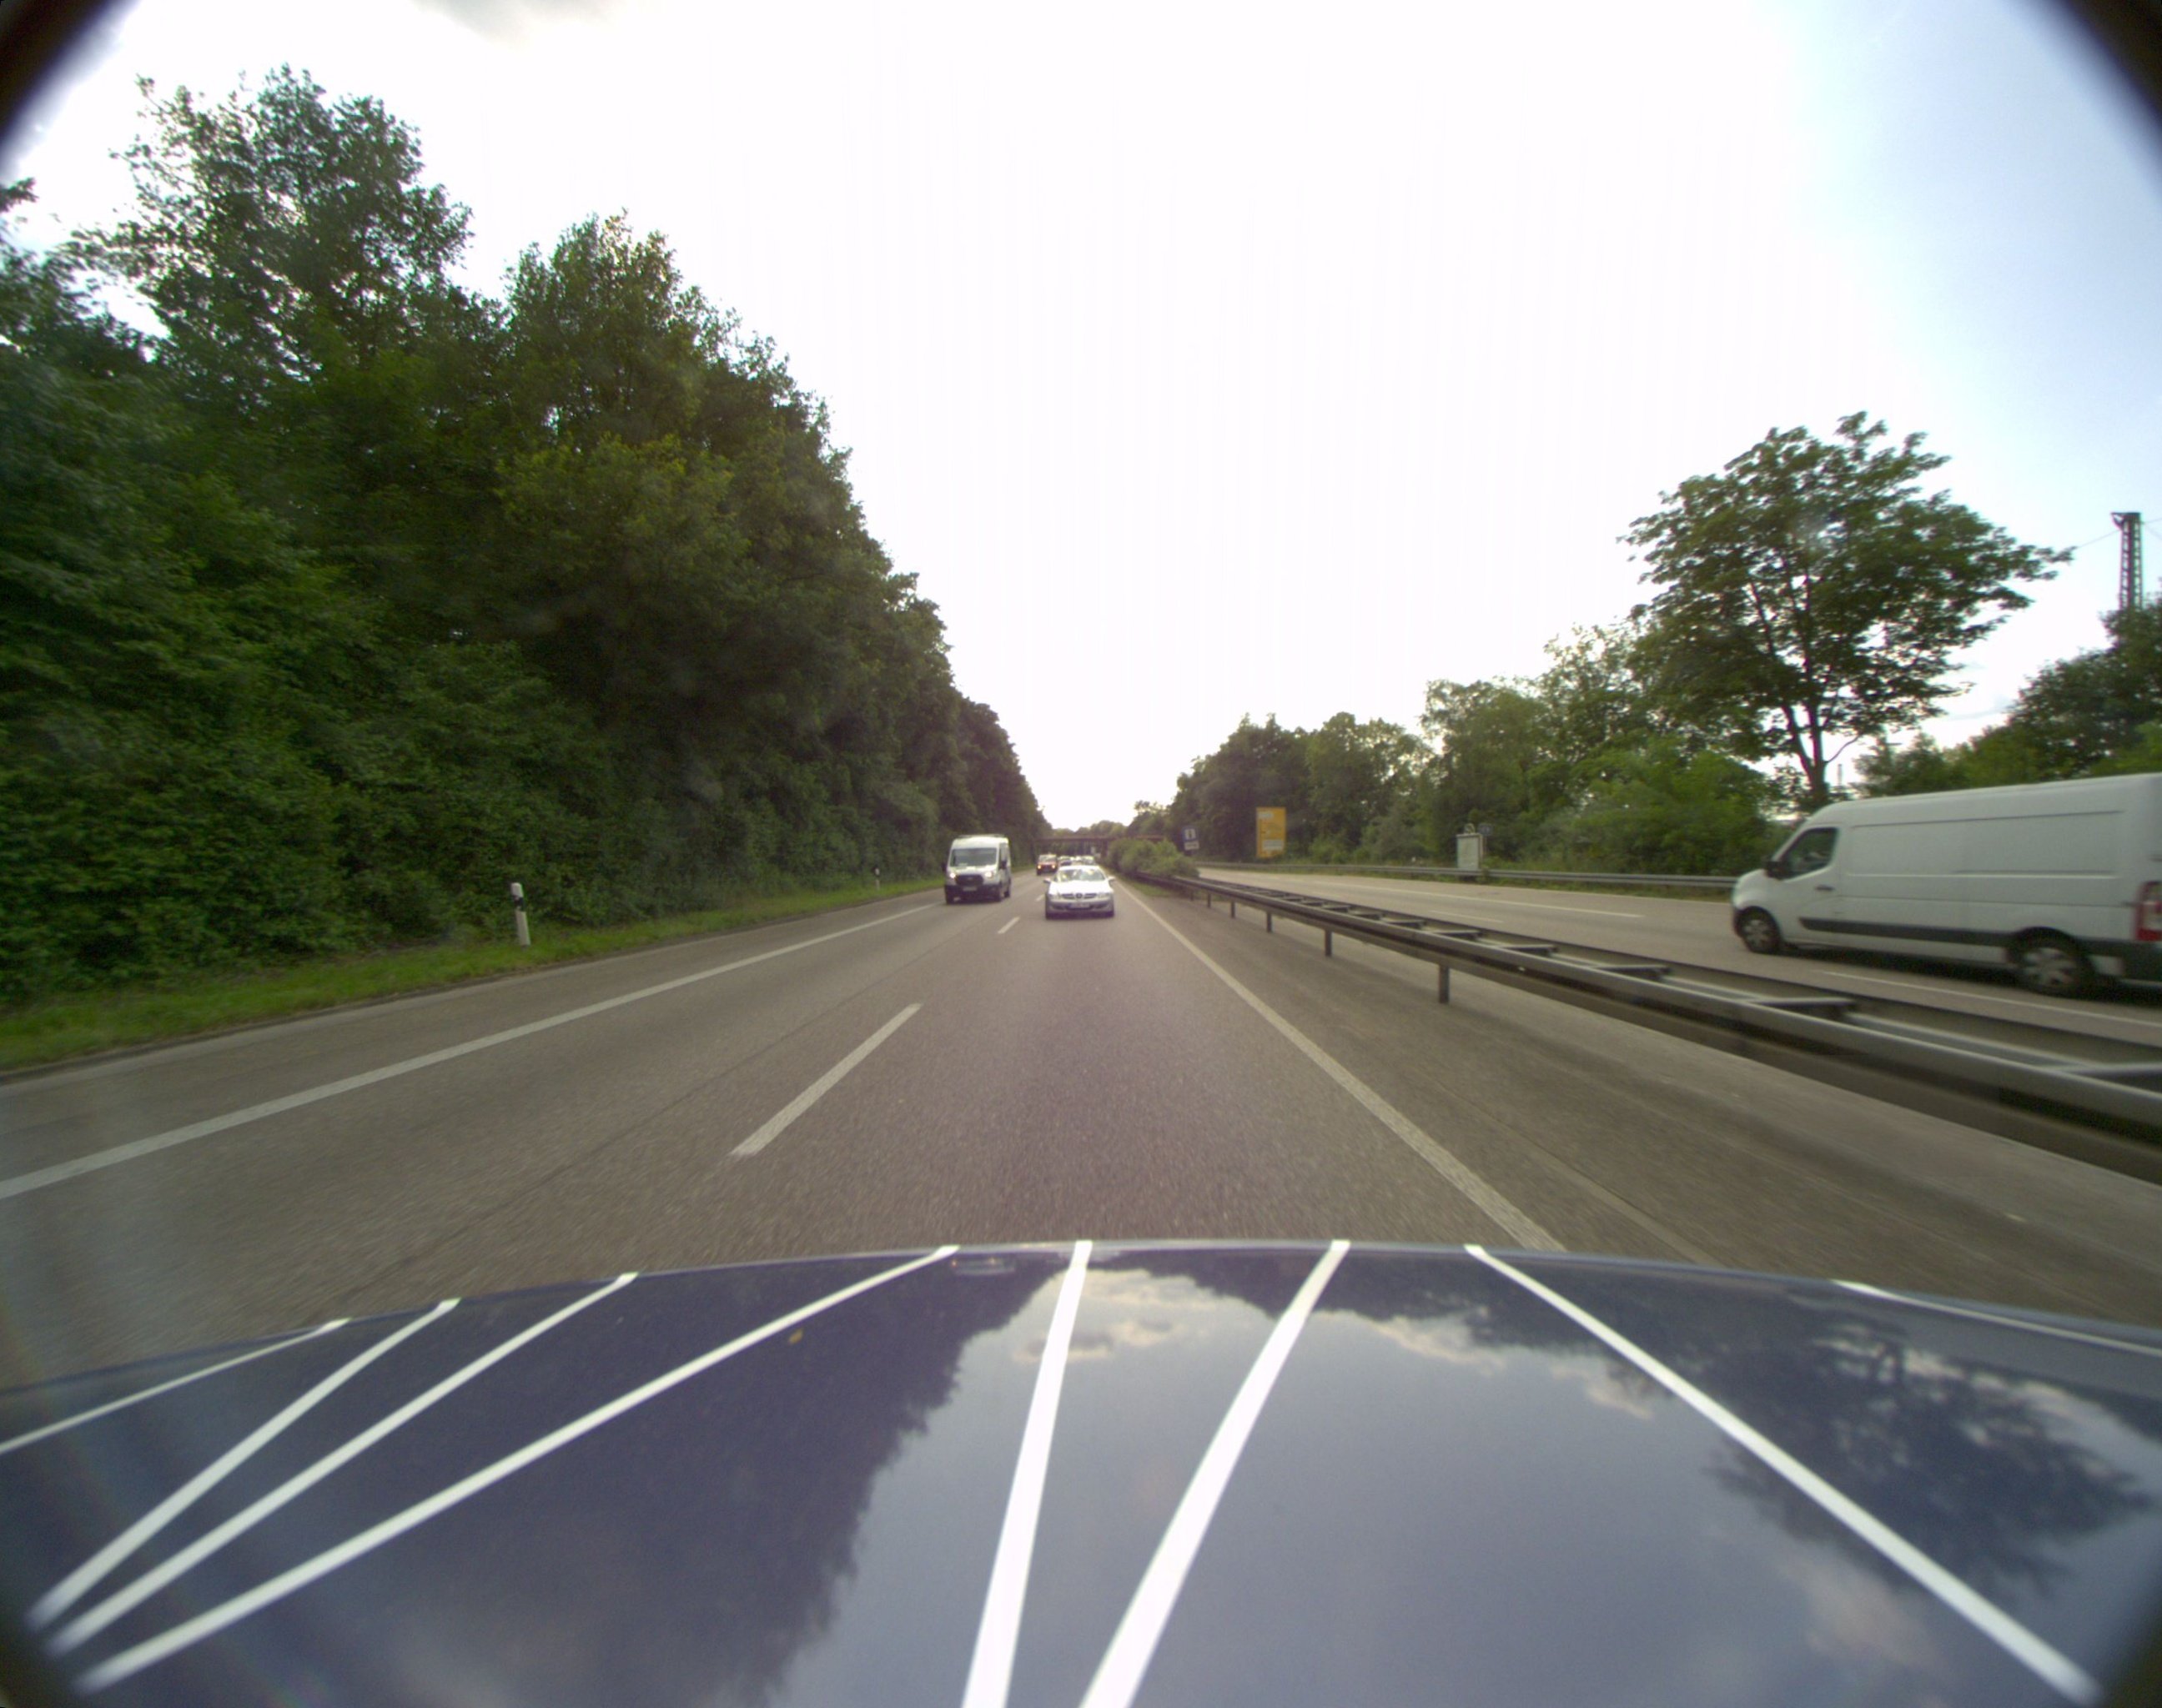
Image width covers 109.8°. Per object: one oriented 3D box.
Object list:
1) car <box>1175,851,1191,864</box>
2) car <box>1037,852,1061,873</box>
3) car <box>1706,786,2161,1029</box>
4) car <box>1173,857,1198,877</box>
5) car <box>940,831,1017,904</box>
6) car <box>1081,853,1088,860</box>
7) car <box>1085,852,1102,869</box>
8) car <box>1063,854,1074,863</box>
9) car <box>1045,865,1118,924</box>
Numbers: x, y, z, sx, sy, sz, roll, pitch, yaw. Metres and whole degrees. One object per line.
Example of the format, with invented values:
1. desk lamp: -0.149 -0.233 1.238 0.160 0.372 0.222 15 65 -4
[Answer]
1. car: 14.689 0.494 109.380 1.867 1.937 4.000 0 0 1
2. car: -2.912 0.766 70.401 1.908 1.795 4.395 -2 0 1
3. car: 11.795 0.495 10.178 2.116 2.408 5.831 -2 0 2
4. car: 8.593 1.027 62.428 1.589 1.598 3.532 0 0 1
5. car: -3.822 0.487 29.316 2.104 2.493 5.279 -2 0 1
6. car: 1.094 0.782 236.772 1.998 2.002 4.000 -1 0 1
7. car: 1.514 0.796 92.998 1.998 2.002 4.000 0 0 1
8. car: -2.250 0.825 137.586 1.889 1.516 4.000 0 0 1
9. car: 0.006 1.041 21.237 1.751 1.295 5.223 -2 0 0
